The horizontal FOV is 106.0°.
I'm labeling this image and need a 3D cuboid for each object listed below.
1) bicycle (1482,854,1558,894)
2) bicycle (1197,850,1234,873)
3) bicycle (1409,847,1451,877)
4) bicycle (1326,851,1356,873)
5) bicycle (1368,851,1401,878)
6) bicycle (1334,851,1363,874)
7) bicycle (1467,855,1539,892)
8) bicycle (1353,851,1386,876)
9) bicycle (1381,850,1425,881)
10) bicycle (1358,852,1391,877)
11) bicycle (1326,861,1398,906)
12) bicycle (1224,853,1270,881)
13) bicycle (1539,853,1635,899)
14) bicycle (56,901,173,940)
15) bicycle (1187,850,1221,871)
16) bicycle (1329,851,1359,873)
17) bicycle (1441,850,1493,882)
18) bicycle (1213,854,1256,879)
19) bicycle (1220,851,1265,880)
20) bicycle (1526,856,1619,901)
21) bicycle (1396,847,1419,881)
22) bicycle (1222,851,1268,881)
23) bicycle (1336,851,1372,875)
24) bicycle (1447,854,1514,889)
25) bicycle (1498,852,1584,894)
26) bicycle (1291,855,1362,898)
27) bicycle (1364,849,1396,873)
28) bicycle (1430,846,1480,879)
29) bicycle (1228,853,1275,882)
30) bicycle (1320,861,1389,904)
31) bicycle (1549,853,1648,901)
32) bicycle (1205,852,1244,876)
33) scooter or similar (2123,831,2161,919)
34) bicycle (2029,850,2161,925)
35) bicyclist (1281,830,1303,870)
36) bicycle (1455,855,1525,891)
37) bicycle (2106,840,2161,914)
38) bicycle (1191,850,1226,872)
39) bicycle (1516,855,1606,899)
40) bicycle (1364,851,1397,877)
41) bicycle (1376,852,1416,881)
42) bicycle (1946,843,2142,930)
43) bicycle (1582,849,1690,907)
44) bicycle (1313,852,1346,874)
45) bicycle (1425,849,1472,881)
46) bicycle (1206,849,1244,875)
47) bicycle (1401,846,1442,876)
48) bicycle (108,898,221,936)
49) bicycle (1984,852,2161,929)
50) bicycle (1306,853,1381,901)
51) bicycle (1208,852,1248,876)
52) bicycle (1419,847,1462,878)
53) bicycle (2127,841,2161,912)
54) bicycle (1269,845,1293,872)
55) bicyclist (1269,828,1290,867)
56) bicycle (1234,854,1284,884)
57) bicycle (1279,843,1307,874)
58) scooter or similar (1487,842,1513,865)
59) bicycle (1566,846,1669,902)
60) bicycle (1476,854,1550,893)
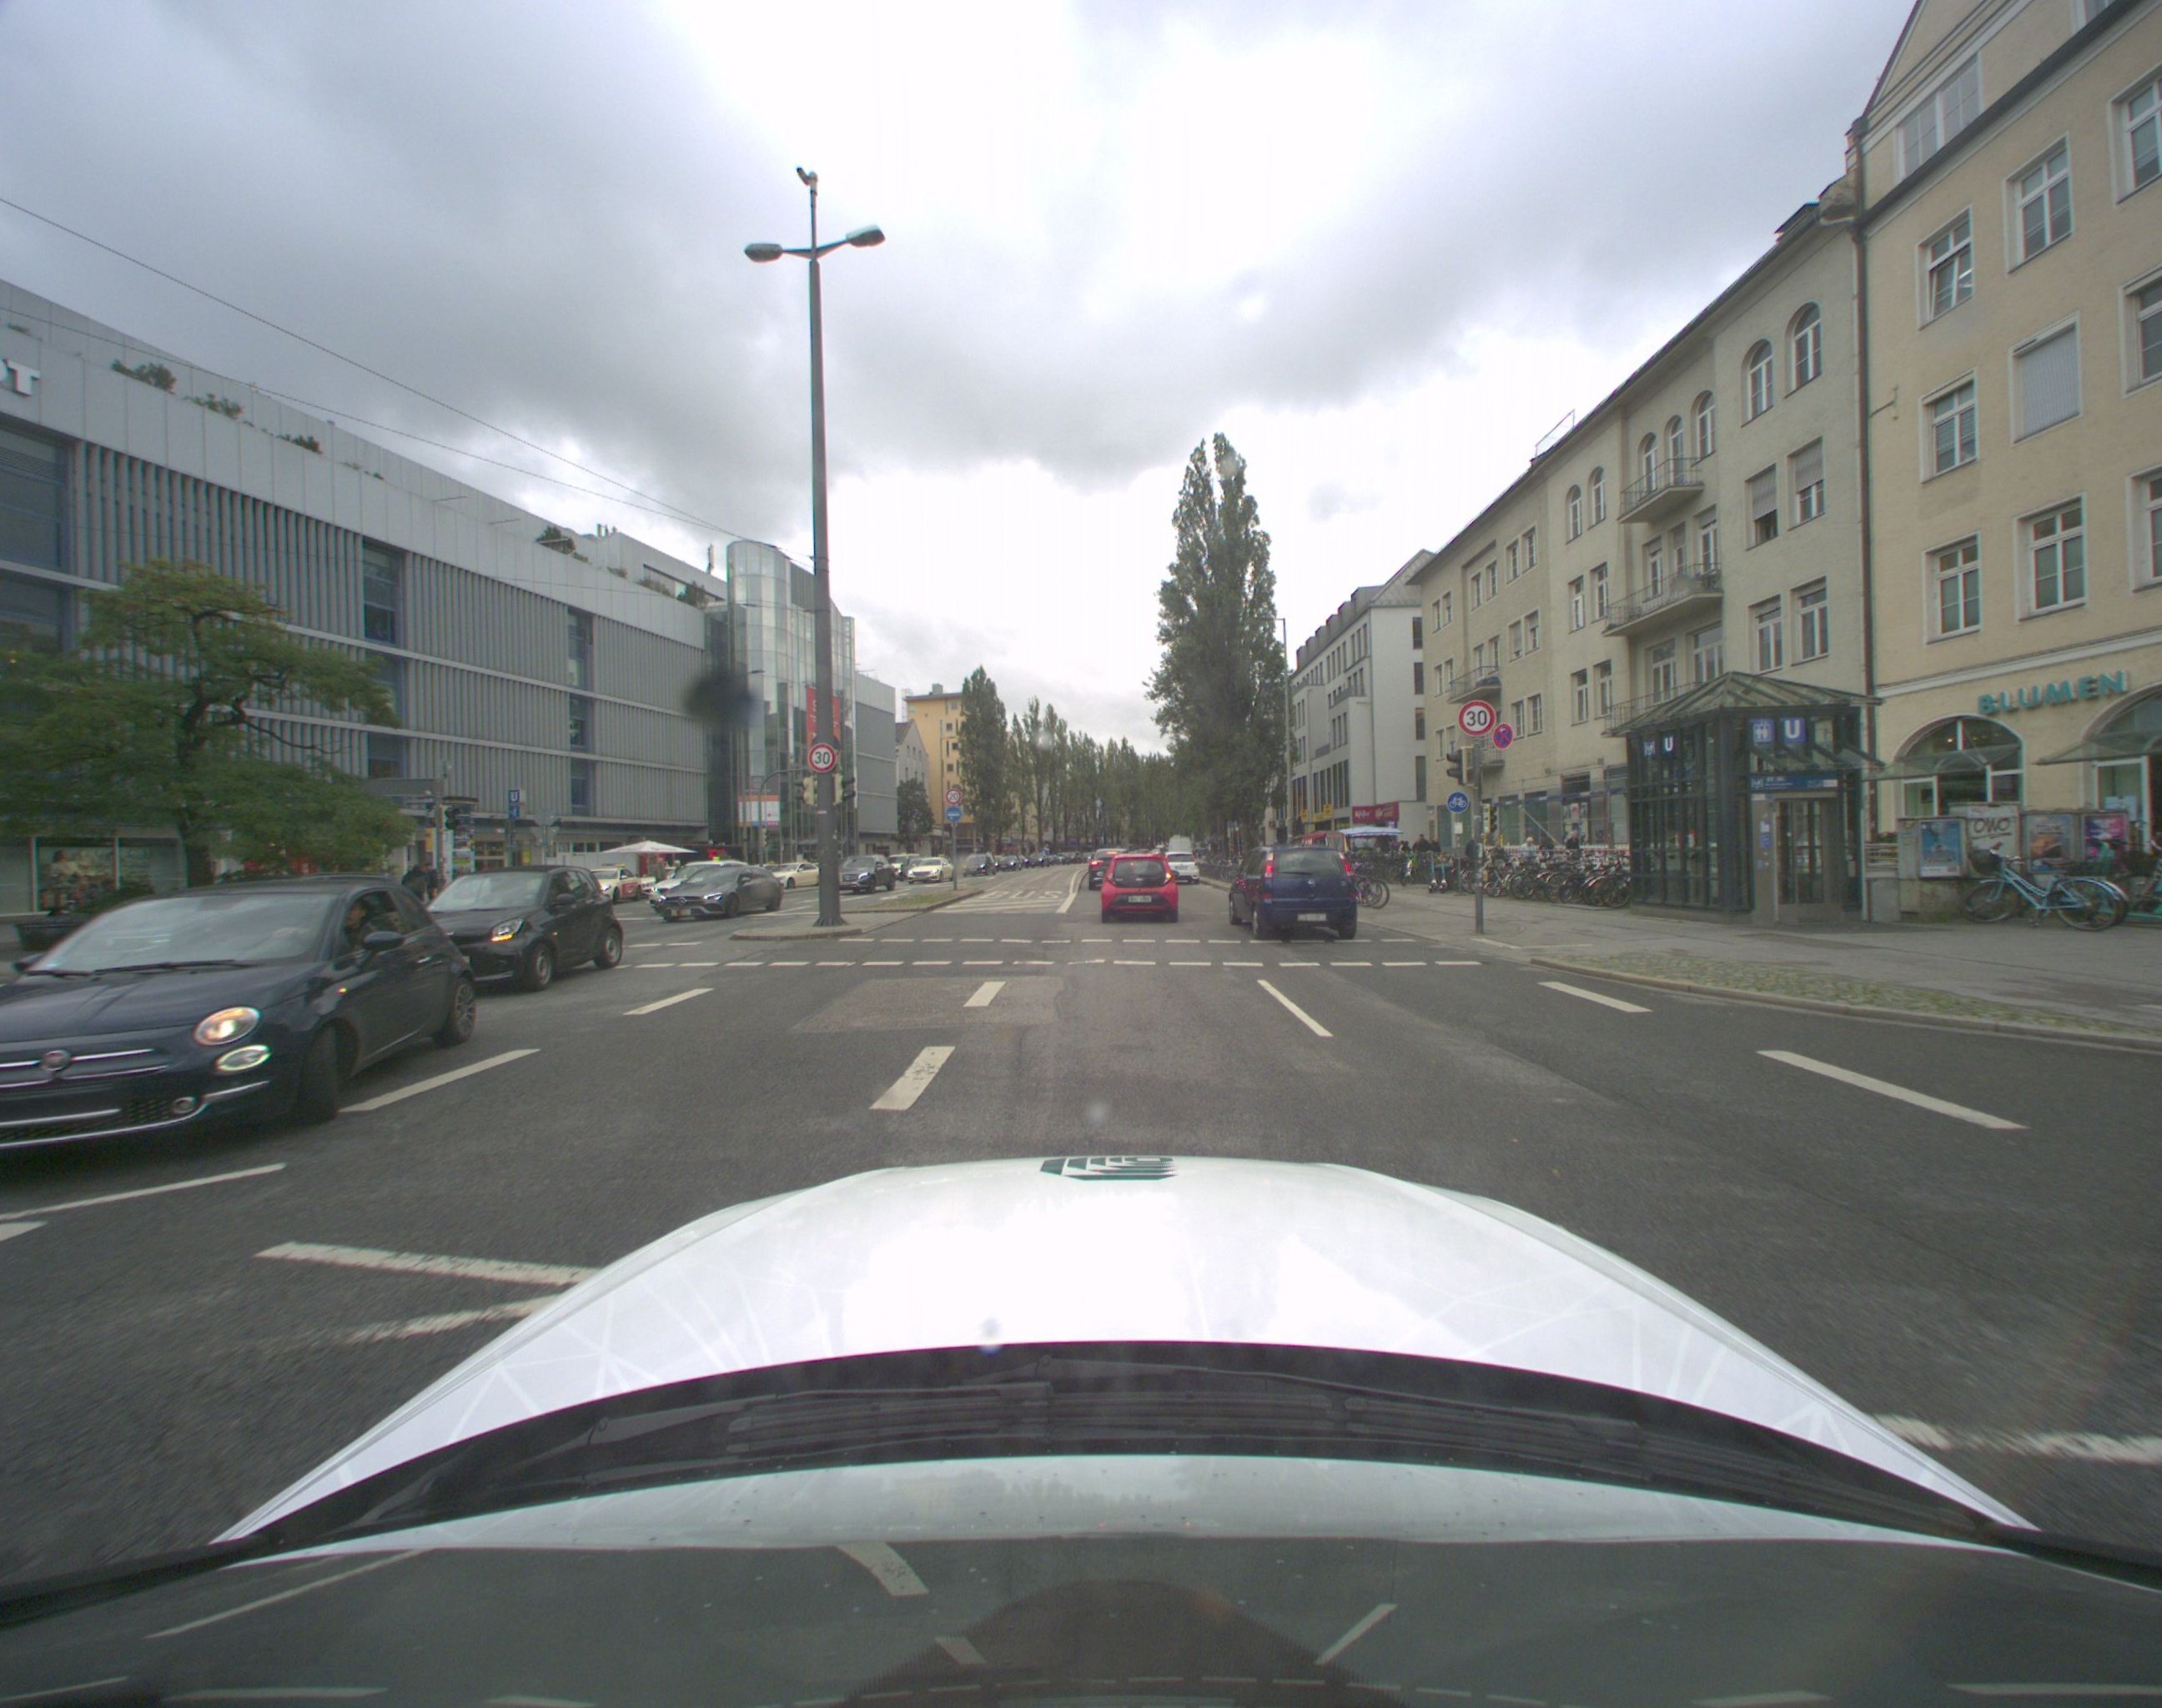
[{"bbox_3d":[11.537,0.525,21.434,1.749,0.964,0.453,-2,0,0],"label":"bicycle"},{"bbox_3d":[6.980,0.403,42.351,1.814,1.136,0.590,-1,0,37],"label":"bicycle"},{"bbox_3d":[13.172,0.283,30.754,1.424,1.075,0.368,-2,0,-5],"label":"bicycle"},{"bbox_3d":[11.887,0.350,37.265,1.255,0.963,0.370,-2,0,4],"label":"bicycle"},{"bbox_3d":[11.664,0.404,31.326,1.127,0.963,0.370,-2,0,7],"label":"bicycle"},{"bbox_3d":[11.819,0.354,35.978,1.229,0.963,0.367,-2,0,-20],"label":"bicycle"},{"bbox_3d":[11.699,0.536,22.599,1.749,0.964,0.453,-2,0,0],"label":"bicycle"},{"bbox_3d":[11.685,0.395,32.960,1.177,0.963,0.369,-2,0,0],"label":"bicycle"},{"bbox_3d":[11.641,0.411,29.432,1.412,1.077,0.369,-2,0,2],"label":"bicycle"},{"bbox_3d":[11.673,0.418,32.416,1.175,0.963,0.370,-2,0,5],"label":"bicycle"},{"bbox_3d":[6.789,0.707,19.744,0.502,1.028,1.582,-2,0,-41],"label":"bicycle"},{"bbox_3d":[6.732,0.533,33.077,1.782,1.111,0.494,-1,0,44],"label":"bicycle"},{"bbox_3d":[11.410,0.487,18.379,1.832,0.964,0.509,-2,0,0],"label":"bicycle"},{"bbox_3d":[-32.109,2.196,27.066,3.468,1.156,1.064,-2,0,14],"label":"bicycle"},{"bbox_3d":[7.029,0.374,46.549,1.814,1.136,0.590,-1,0,37],"label":"bicycle"},{"bbox_3d":[11.878,0.358,36.782,1.253,0.963,0.370,-2,0,11],"label":"bicycle"},{"bbox_3d":[13.399,0.412,28.281,1.543,1.075,0.452,-2,0,3],"label":"bicycle"},{"bbox_3d":[6.782,0.537,35.931,1.815,1.052,0.590,-1,1,44],"label":"bicycle"},{"bbox_3d":[6.823,0.475,34.521,1.815,1.197,0.590,-1,1,44],"label":"bicycle"},{"bbox_3d":[11.448,0.556,18.986,1.832,0.964,0.509,-2,0,0],"label":"bicycle"},{"bbox_3d":[11.393,0.335,28.381,0.364,1.141,1.734,-2,0,34],"label":"bicycle"},{"bbox_3d":[6.771,0.498,33.740,1.815,1.168,0.590,-1,1,44],"label":"bicycle"},{"bbox_3d":[11.647,0.366,34.762,1.399,0.963,0.369,-2,0,-4],"label":"bicycle"},{"bbox_3d":[11.682,0.507,23.852,1.747,0.964,0.369,-2,0,2],"label":"bicycle"},{"bbox_3d":[11.487,0.474,20.357,1.832,0.964,0.509,-2,0,0],"label":"bicycle"},{"bbox_3d":[6.825,0.624,22.653,1.782,1.158,0.551,-1,0,39],"label":"bicycle"},{"bbox_3d":[13.083,0.303,35.648,1.240,0.981,0.369,-2,0,-2],"label":"bicycle"},{"bbox_3d":[13.284,0.296,28.914,1.546,1.075,0.451,-2,0,-3],"label":"bicycle"},{"bbox_3d":[6.766,0.538,32.411,1.782,1.111,0.590,-1,1,44],"label":"bicycle"},{"bbox_3d":[6.850,0.694,20.471,0.502,1.028,1.582,-2,0,-41],"label":"bicycle"},{"bbox_3d":[11.326,0.491,17.848,1.832,0.964,0.509,-2,0,0],"label":"bicycle"},{"bbox_3d":[6.956,0.478,39.423,1.815,1.136,0.590,-1,1,44],"label":"bicycle"},{"bbox_3d":[15.266,0.293,11.201,0.287,1.227,1.151,-2,0,-7],"label":"scooter or similar"},{"bbox_3d":[14.638,0.443,11.439,0.492,0.975,1.867,-2,0,2],"label":"bicycle"},{"bbox_3d":[9.099,-0.164,35.087,0.611,1.657,1.252,-2,0,2],"label":"bicyclist"},{"bbox_3d":[11.624,0.532,23.160,1.747,0.964,0.453,-2,0,2],"label":"bicycle"},{"bbox_3d":[15.811,0.335,11.402,0.493,1.059,1.864,-2,0,-3],"label":"bicycle"},{"bbox_3d":[7.069,0.385,45.080,1.814,1.136,0.590,-1,0,37],"label":"bicycle"},{"bbox_3d":[11.492,0.538,19.531,1.832,0.964,0.509,-2,0,0],"label":"bicycle"},{"bbox_3d":[11.661,0.401,31.766,1.127,0.963,0.370,-2,0,7],"label":"bicycle"},{"bbox_3d":[11.576,0.468,29.939,1.309,0.999,0.369,-2,0,2],"label":"bicycle"},{"bbox_3d":[13.462,0.415,11.477,0.564,1.107,1.867,-2,0,2],"label":"bicycle"},{"bbox_3d":[11.358,0.478,16.689,1.832,1.094,0.509,-2,0,0],"label":"bicycle"},{"bbox_3d":[11.816,0.436,38.758,1.424,0.963,0.370,-2,0,7],"label":"bicycle"},{"bbox_3d":[13.289,0.399,29.443,1.547,1.075,0.368,-2,0,-5],"label":"bicycle"},{"bbox_3d":[7.067,0.421,40.088,1.815,1.241,0.590,-1,0,44],"label":"bicycle"},{"bbox_3d":[13.113,0.257,31.349,1.424,1.075,0.368,-2,0,-5],"label":"bicycle"},{"bbox_3d":[-31.814,2.189,28.274,3.468,1.156,1.064,-2,0,14],"label":"bicycle"},{"bbox_3d":[13.962,0.469,11.449,0.492,0.975,1.867,-2,0,2],"label":"bicycle"},{"bbox_3d":[6.838,0.585,21.259,1.782,1.198,0.562,-1,1,45],"label":"bicycle"},{"bbox_3d":[6.950,0.476,38.661,1.815,1.136,0.590,-1,1,44],"label":"bicycle"},{"bbox_3d":[13.211,0.311,29.964,1.424,1.075,0.368,-2,0,-5],"label":"bicycle"},{"bbox_3d":[16.494,0.335,11.631,0.495,1.059,1.858,-2,0,-13],"label":"bicycle"},{"bbox_3d":[9.765,0.213,39.872,0.611,1.265,2.521,-2,1,2],"label":"bicycle"},{"bbox_3d":[9.729,-0.333,39.994,0.759,1.869,1.133,-2,0,2],"label":"bicyclist"},{"bbox_3d":[6.752,0.571,30.983,1.782,1.111,0.566,-1,0,43],"label":"bicycle"},{"bbox_3d":[9.098,0.185,35.005,0.611,1.265,2.521,-2,1,2],"label":"bicycle"},{"bbox_3d":[18.079,-0.012,35.154,0.533,0.943,1.125,-3,0,0],"label":"scooter or similar"},{"bbox_3d":[11.351,0.415,17.256,1.832,1.094,0.509,-2,0,0],"label":"bicycle"},{"bbox_3d":[11.628,0.518,21.938,1.749,0.964,0.453,-2,0,0],"label":"bicycle"}]
